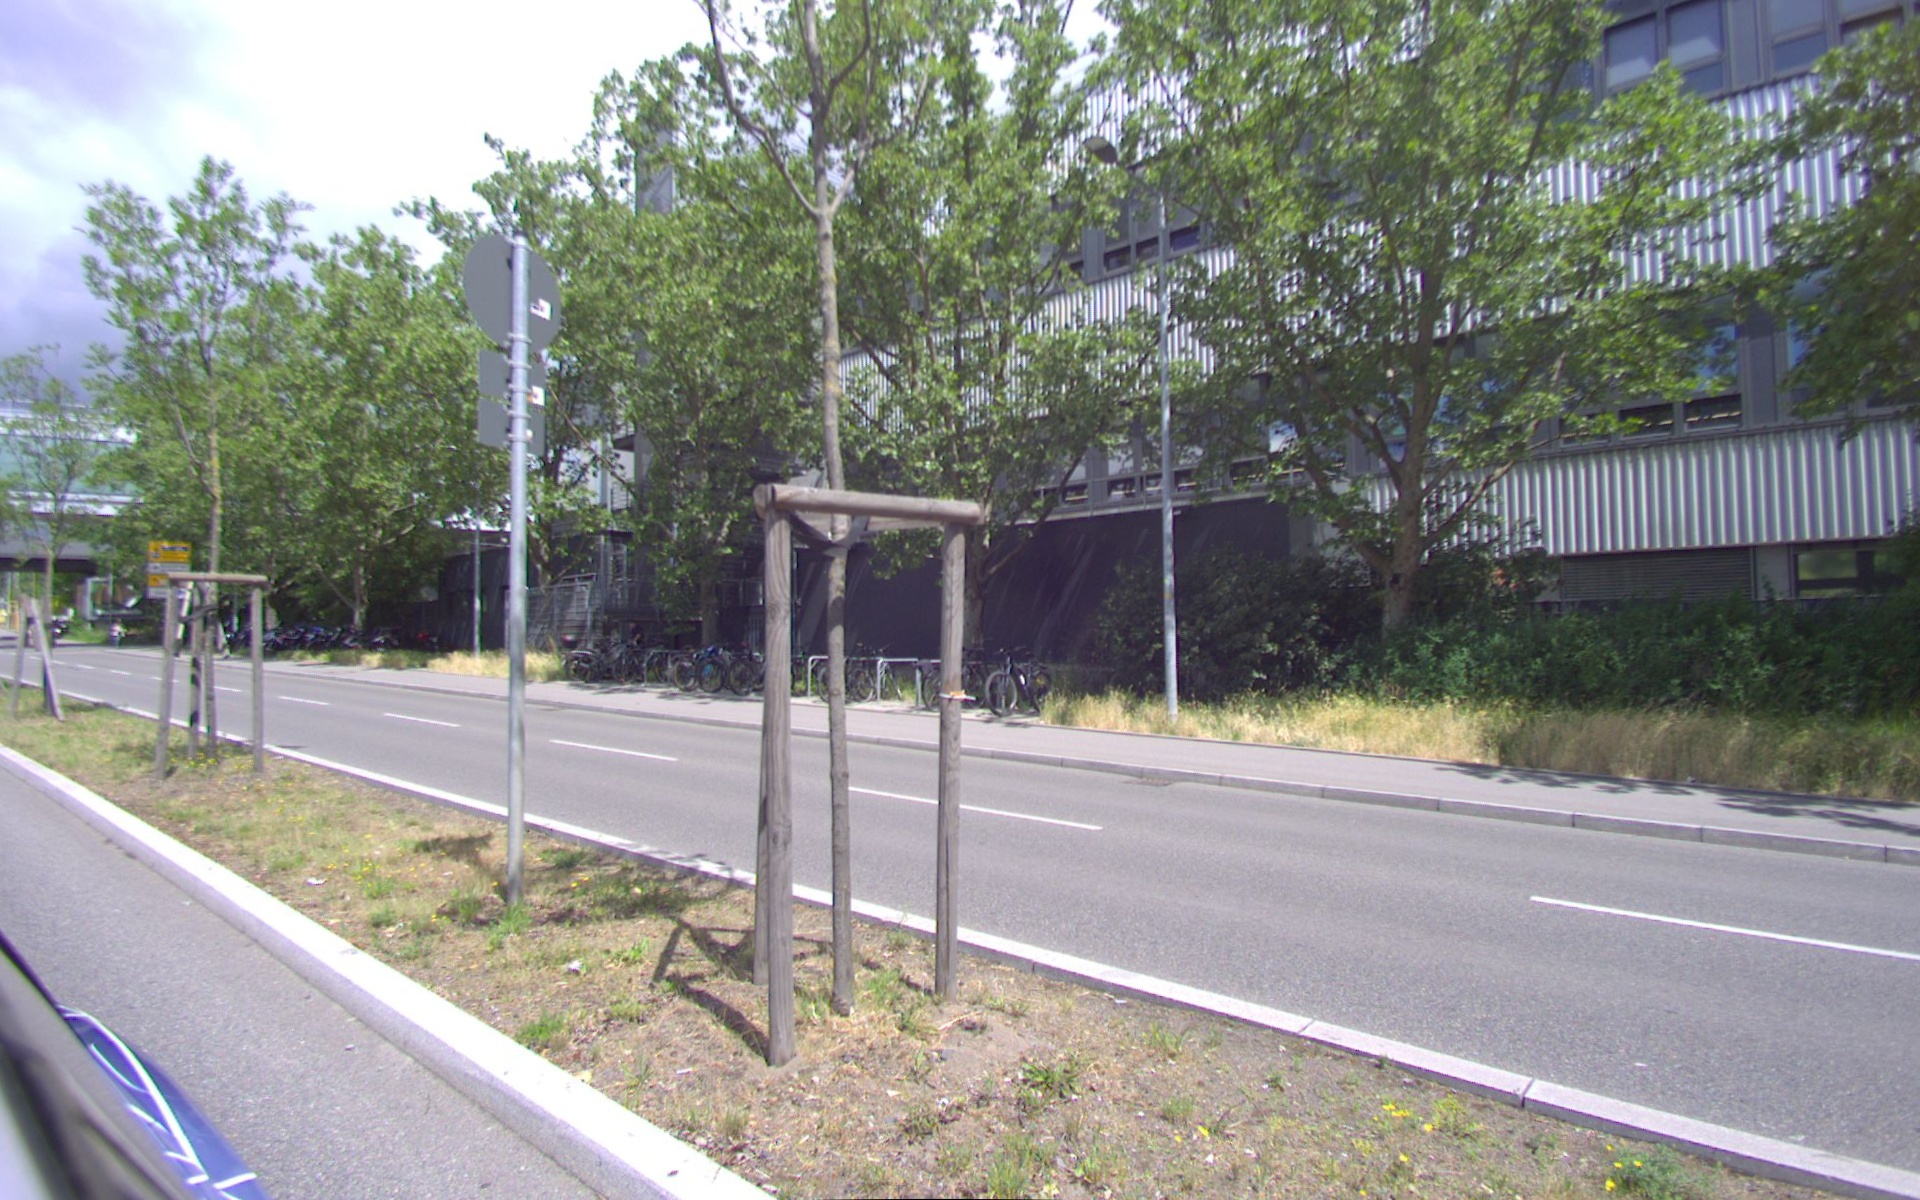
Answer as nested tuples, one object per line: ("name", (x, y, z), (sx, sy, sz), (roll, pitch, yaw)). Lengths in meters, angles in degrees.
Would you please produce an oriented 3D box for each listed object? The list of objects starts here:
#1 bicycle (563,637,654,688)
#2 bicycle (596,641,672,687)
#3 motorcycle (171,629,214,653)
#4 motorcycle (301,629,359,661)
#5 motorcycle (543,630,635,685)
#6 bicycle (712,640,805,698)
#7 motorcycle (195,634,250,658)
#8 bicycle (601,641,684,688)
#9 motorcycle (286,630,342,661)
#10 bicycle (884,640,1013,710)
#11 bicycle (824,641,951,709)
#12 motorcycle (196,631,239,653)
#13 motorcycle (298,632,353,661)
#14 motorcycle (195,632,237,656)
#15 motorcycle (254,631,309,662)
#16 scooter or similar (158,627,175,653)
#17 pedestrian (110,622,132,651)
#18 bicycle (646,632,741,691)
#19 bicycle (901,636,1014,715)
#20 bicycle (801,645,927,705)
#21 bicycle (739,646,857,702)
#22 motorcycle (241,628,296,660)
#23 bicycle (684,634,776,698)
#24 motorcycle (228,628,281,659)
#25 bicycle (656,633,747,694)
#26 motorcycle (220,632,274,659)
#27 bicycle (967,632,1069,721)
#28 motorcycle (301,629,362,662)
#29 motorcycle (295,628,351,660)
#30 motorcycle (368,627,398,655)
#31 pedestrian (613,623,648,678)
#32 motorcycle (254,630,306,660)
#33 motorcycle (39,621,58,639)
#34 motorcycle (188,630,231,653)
("bicycle", (-8.897, 1.561, 25.689), (0.805, 1.189, 2.113), (-1, -1, 38))
("bicycle", (-8.162, 1.588, 25.402), (0.421, 1.083, 1.905), (-1, -1, 38))
("motorcycle", (-40.568, 2.174, 53.501), (1.721, 1.180, 0.777), (-2, -1, -42))
("motorcycle", (-25.333, 1.807, 40.685), (1.855, 1.195, 0.730), (-2, 0, -42))
("motorcycle", (-9.499, 1.451, 25.968), (0.805, 1.319, 2.113), (-1, -1, 38))
("bicycle", (-4.275, 1.445, 21.593), (0.805, 1.131, 1.900), (-1, -1, 38))
("motorcycle", (-35.501, 2.213, 48.734), (0.917, 1.124, 1.919), (0, -3, 28))
("bicycle", (-7.839, 1.580, 25.057), (0.496, 1.070, 2.061), (-1, -1, 38))
("motorcycle", (-27.537, 1.928, 43.169), (0.698, 1.188, 1.857), (-3, -1, 43))
("bicycle", (-0.177, 1.377, 18.974), (2.533, 1.166, 0.727), (0, -1, -40))
("bicycle", (-1.353, 1.398, 19.342), (2.533, 1.166, 0.645), (0, -1, -40))
("motorcycle", (-36.961, 2.092, 50.366), (0.776, 1.041, 1.574), (-3, -1, 41))
("motorcycle", (-26.067, 1.898, 41.580), (1.853, 1.093, 0.796), (-2, -1, -35))
("motorcycle", (-37.822, 2.243, 51.466), (0.776, 1.131, 1.574), (-3, -1, 41))
("motorcycle", (-29.129, 1.988, 43.483), (1.855, 1.188, 0.816), (-2, -1, -41))
("scooter or similar", (-39.026, 1.948, 49.742), (1.478, 1.245, 0.350), (0, 0, 40))
("pedestrian", (-46.973, 2.034, 56.668), (0.812, 1.624, 0.760), (-1, 1, 39))
("bicycle", (-6.301, 1.431, 24.022), (0.805, 1.292, 2.113), (-1, -1, 38))
("bicycle", (-0.007, 1.298, 17.926), (0.555, 1.267, 2.379), (-2, -2, 42))
("bicycle", (-1.854, 1.452, 19.993), (2.532, 1.104, 0.697), (2, -3, -40))
("bicycle", (-3.349, 1.518, 21.312), (0.848, 1.014, 2.814), (-1, -1, 31))
("motorcycle", (-31.061, 1.964, 45.487), (1.905, 1.354, 0.867), (-2, -1, -30))
("bicycle", (-5.032, 1.414, 22.229), (0.805, 1.292, 1.900), (-1, -1, 38))
("motorcycle", (-32.773, 2.007, 47.039), (1.905, 1.300, 0.895), (-2, -1, -30))
("bicycle", (-5.834, 1.409, 22.887), (0.805, 1.292, 1.900), (-1, -1, 38))
("motorcycle", (-33.819, 2.148, 48.039), (1.904, 1.124, 0.924), (-2, -1, -23))
("bicycle", (1.009, 1.247, 17.082), (0.489, 1.374, 2.144), (-2, -2, 42))
("motorcycle", (-24.157, 1.742, 38.907), (1.855, 1.182, 0.746), (-2, -1, -41))
("motorcycle", (-26.702, 1.836, 42.448), (0.655, 1.219, 1.857), (-3, -1, 43))
("motorcycle", (-26.105, 1.857, 45.804), (1.983, 1.219, 0.645), (-3, -1, 45))
("pedestrian", (-9.650, 1.455, 29.636), (0.744, 1.563, 0.822), (0, -2, -40))
("motorcycle", (-29.881, 1.974, 44.493), (1.853, 1.188, 0.817), (-2, -1, -35))
("motorcycle", (-62.622, 2.059, 69.547), (2.255, 1.207, 0.633), (0, 1, 39))
("motorcycle", (-38.747, 2.132, 52.243), (0.773, 1.131, 1.579), (-3, -1, 31))
